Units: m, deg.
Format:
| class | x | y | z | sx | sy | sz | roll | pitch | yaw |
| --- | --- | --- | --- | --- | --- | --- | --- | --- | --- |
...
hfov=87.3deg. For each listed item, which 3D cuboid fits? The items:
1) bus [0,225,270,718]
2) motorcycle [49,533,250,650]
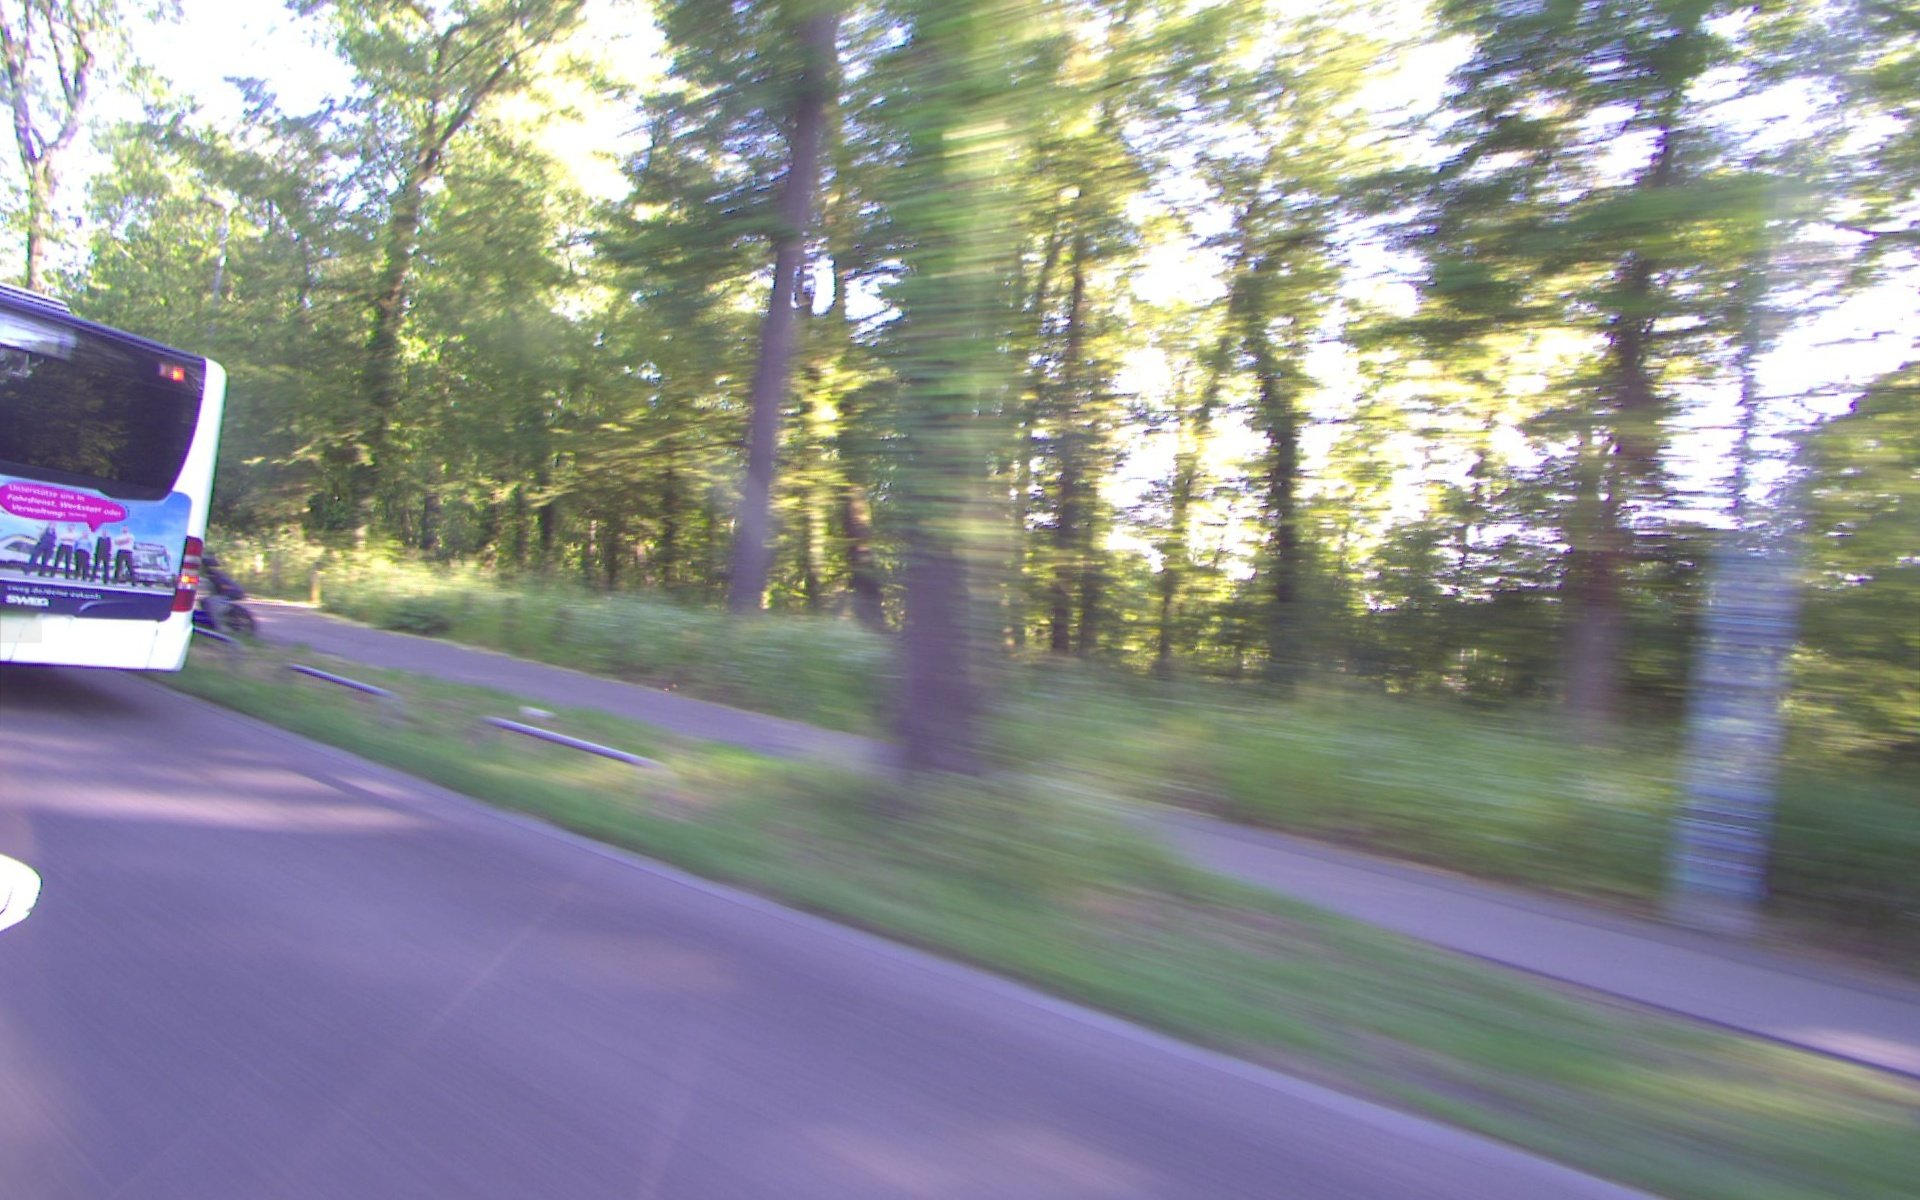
| class | x | y | z | sx | sy | sz | roll | pitch | yaw |
| --- | --- | --- | --- | --- | --- | --- | --- | --- | --- |
| bus | -11.405 | -1.374 | 10.238 | 12.083 | 3.258 | 2.708 | 6 | -2 | 34 |
| motorcycle | -10.156 | -0.076 | 12.665 | 0.758 | 1.269 | 1.735 | 6 | -1 | 32 |
